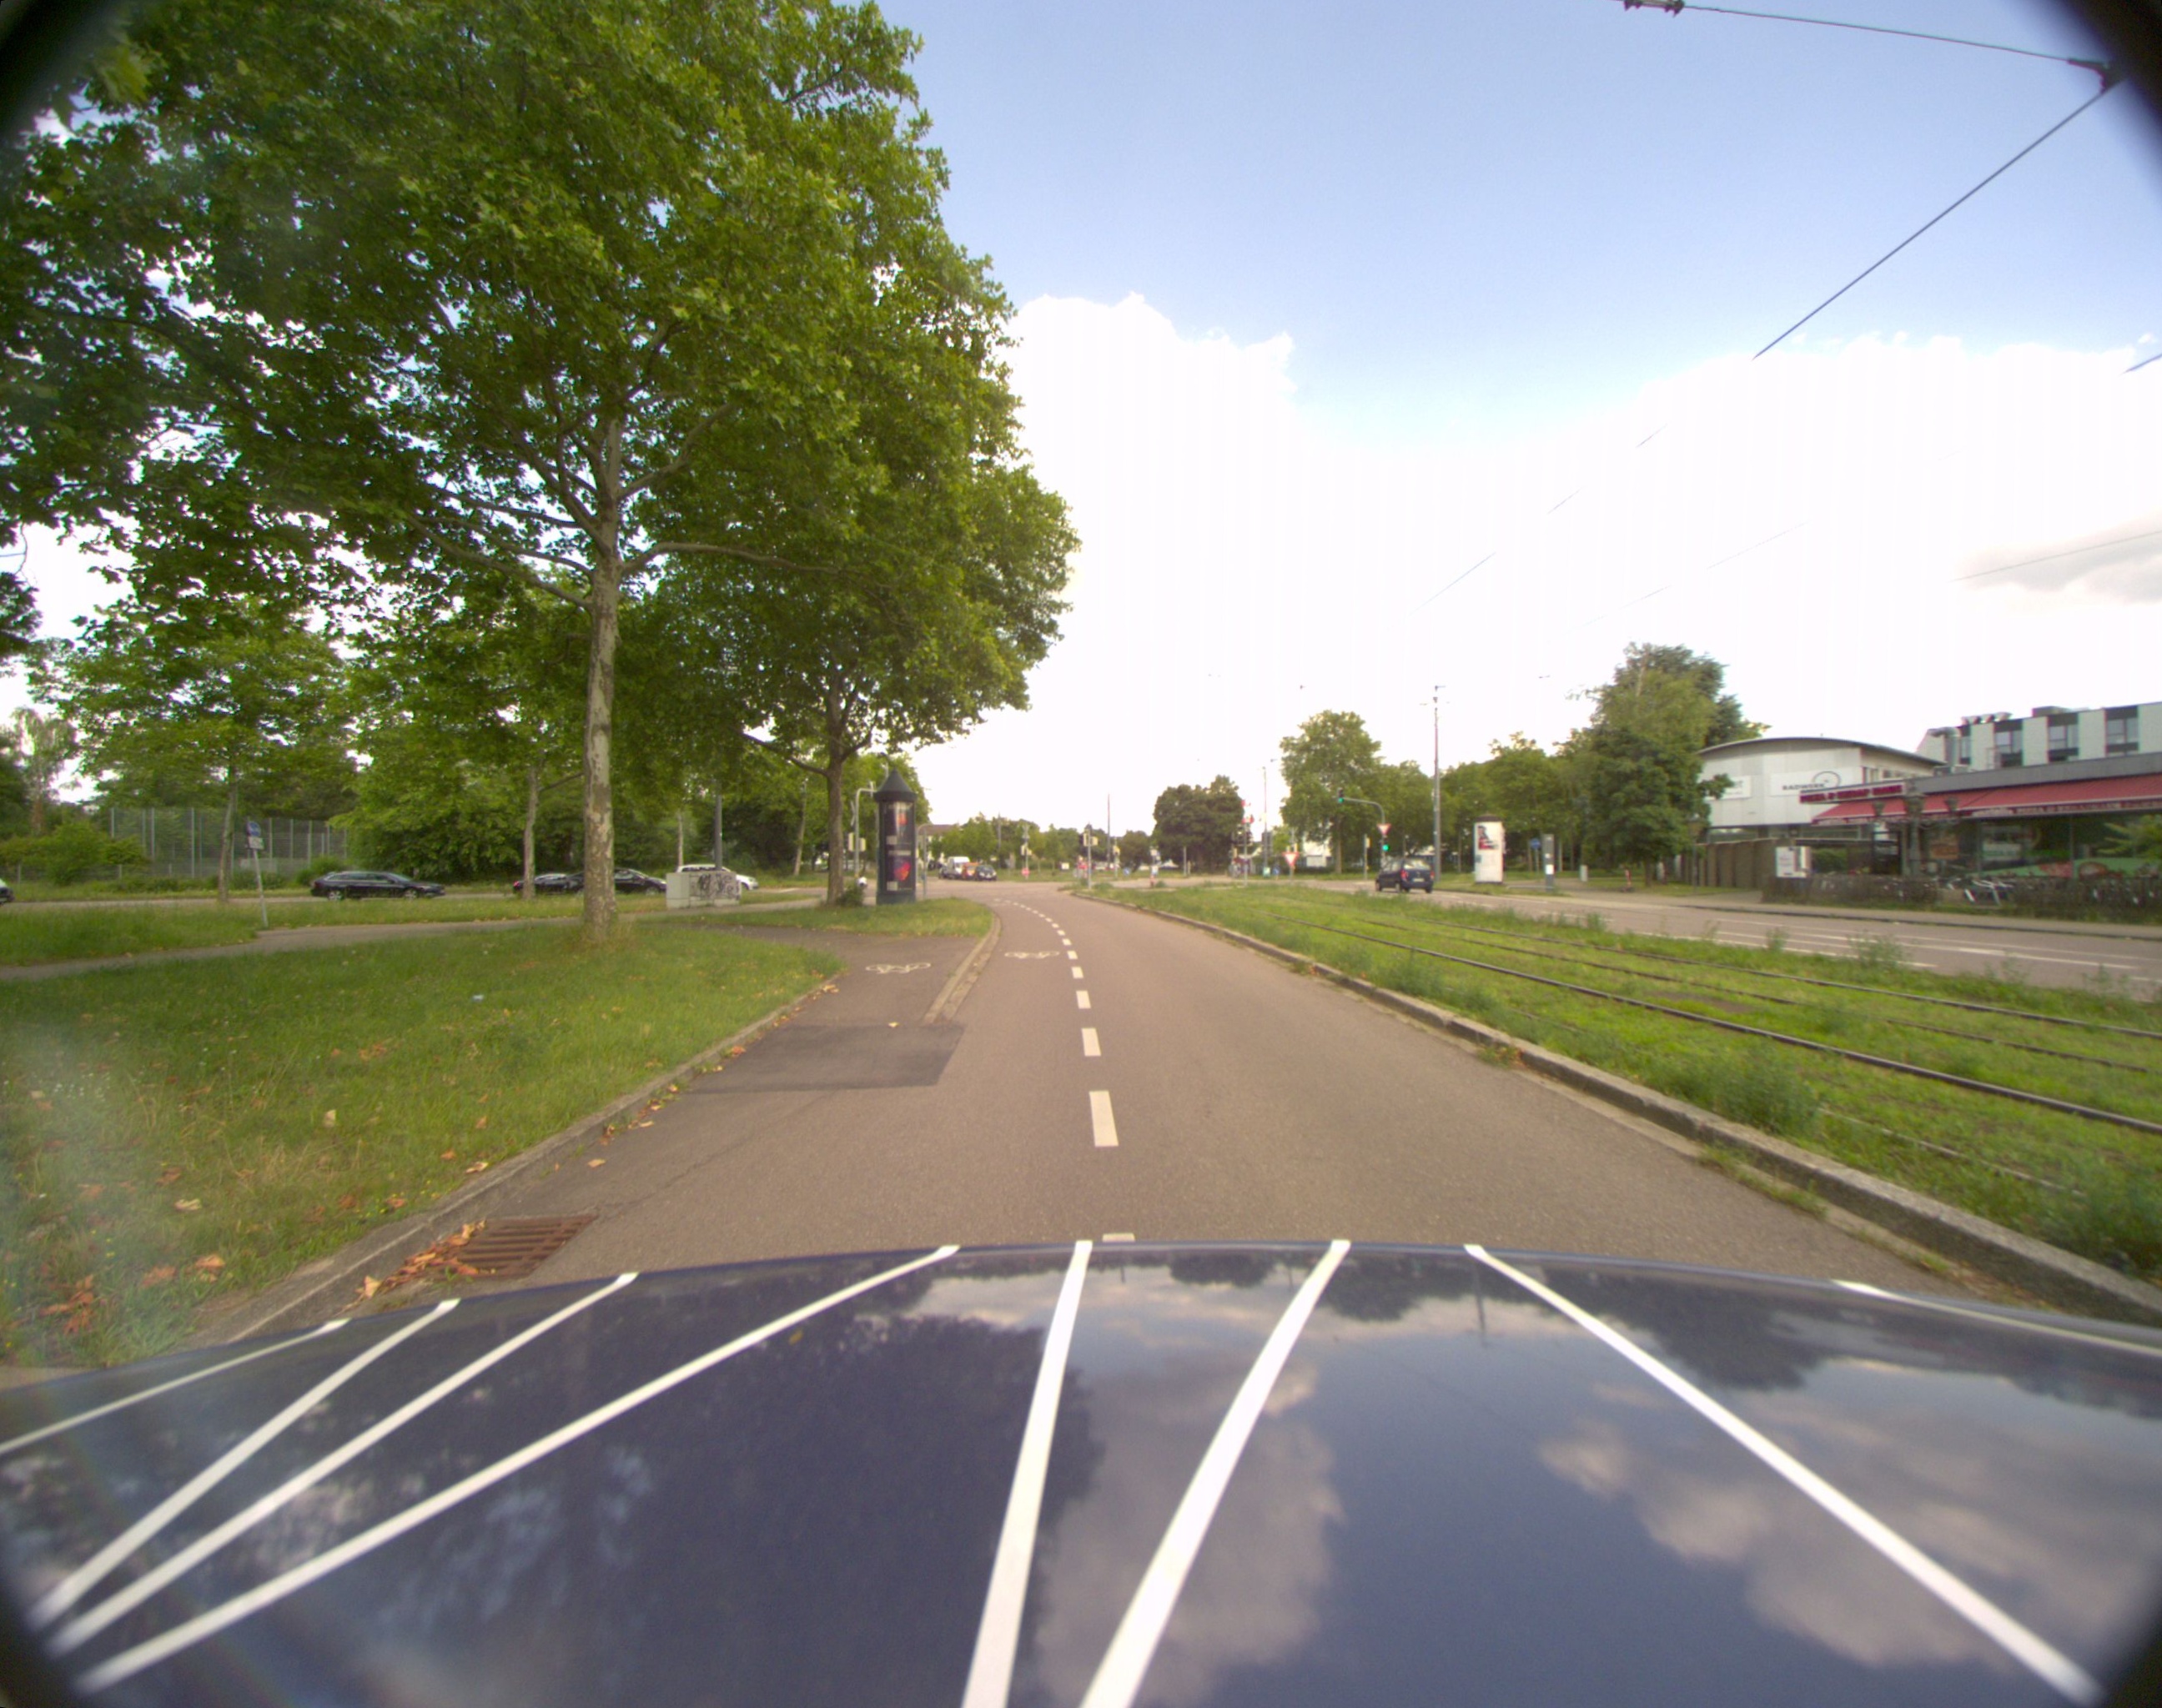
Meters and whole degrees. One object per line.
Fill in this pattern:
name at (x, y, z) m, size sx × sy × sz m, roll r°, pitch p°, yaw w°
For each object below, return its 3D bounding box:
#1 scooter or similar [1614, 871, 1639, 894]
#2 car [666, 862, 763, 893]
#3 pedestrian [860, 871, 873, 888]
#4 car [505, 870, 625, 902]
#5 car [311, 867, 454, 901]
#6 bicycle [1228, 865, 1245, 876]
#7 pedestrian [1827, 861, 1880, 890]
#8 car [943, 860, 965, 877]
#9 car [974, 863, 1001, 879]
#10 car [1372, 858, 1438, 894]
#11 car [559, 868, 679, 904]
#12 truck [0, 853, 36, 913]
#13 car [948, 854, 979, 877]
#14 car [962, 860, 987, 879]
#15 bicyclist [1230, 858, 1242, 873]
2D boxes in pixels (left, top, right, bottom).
scooter or similar at (25.170, 1.324, 35.060) m, size 0.427 × 1.027 × 1.224 m, roll -1°, pitch 0°, yaw 10°
car at (-20.256, 1.252, 42.219) m, size 4.692 × 1.601 × 1.996 m, roll 0°, pitch 0°, yaw -21°
pedestrian at (-13.177, 1.568, 46.665) m, size 0.723 × 1.028 × 0.900 m, roll 0°, pitch 0°, yaw -20°
car at (-26.574, 1.616, 39.333) m, size 4.754 × 1.461 × 1.996 m, roll 0°, pitch 0°, yaw -21°
car at (-33.749, 1.420, 36.902) m, size 4.692 × 1.504 × 1.996 m, roll 0°, pitch 0°, yaw -21°
bicycle at (15.786, 1.652, 77.170) m, size 0.805 × 1.053 × 2.067 m, roll -1°, pitch -2°, yaw -15°
pedestrian at (30.797, 0.837, 30.312) m, size 1.156 × 1.139 × 0.932 m, roll 0°, pitch 0°, yaw 1°
car at (-15.438, 1.765, 92.160) m, size 1.798 × 1.924 × 4.361 m, roll -1°, pitch 0°, yaw -20°
car at (-9.233, 1.644, 74.889) m, size 1.798 × 1.530 × 3.994 m, roll -1°, pitch 0°, yaw -19°
car at (15.538, 1.018, 36.577) m, size 1.783 × 1.617 × 3.496 m, roll 0°, pitch 0°, yaw 2°
car at (-22.492, 1.507, 37.222) m, size 4.691 × 1.601 × 1.996 m, roll 0°, pitch 0°, yaw -20°
truck at (-49.183, 1.257, 31.645) m, size 6.515 × 2.580 × 2.213 m, roll 0°, pitch 0°, yaw -20°
car at (-13.461, 1.354, 86.788) m, size 2.242 × 2.492 × 5.716 m, roll -1°, pitch 0°, yaw -21°
car at (-11.319, 1.579, 80.612) m, size 1.798 × 1.924 × 4.361 m, roll -1°, pitch 0°, yaw -20°
bicyclist at (15.766, 1.187, 77.203) m, size 0.805 × 1.461 × 0.831 m, roll -1°, pitch -2°, yaw -15°
